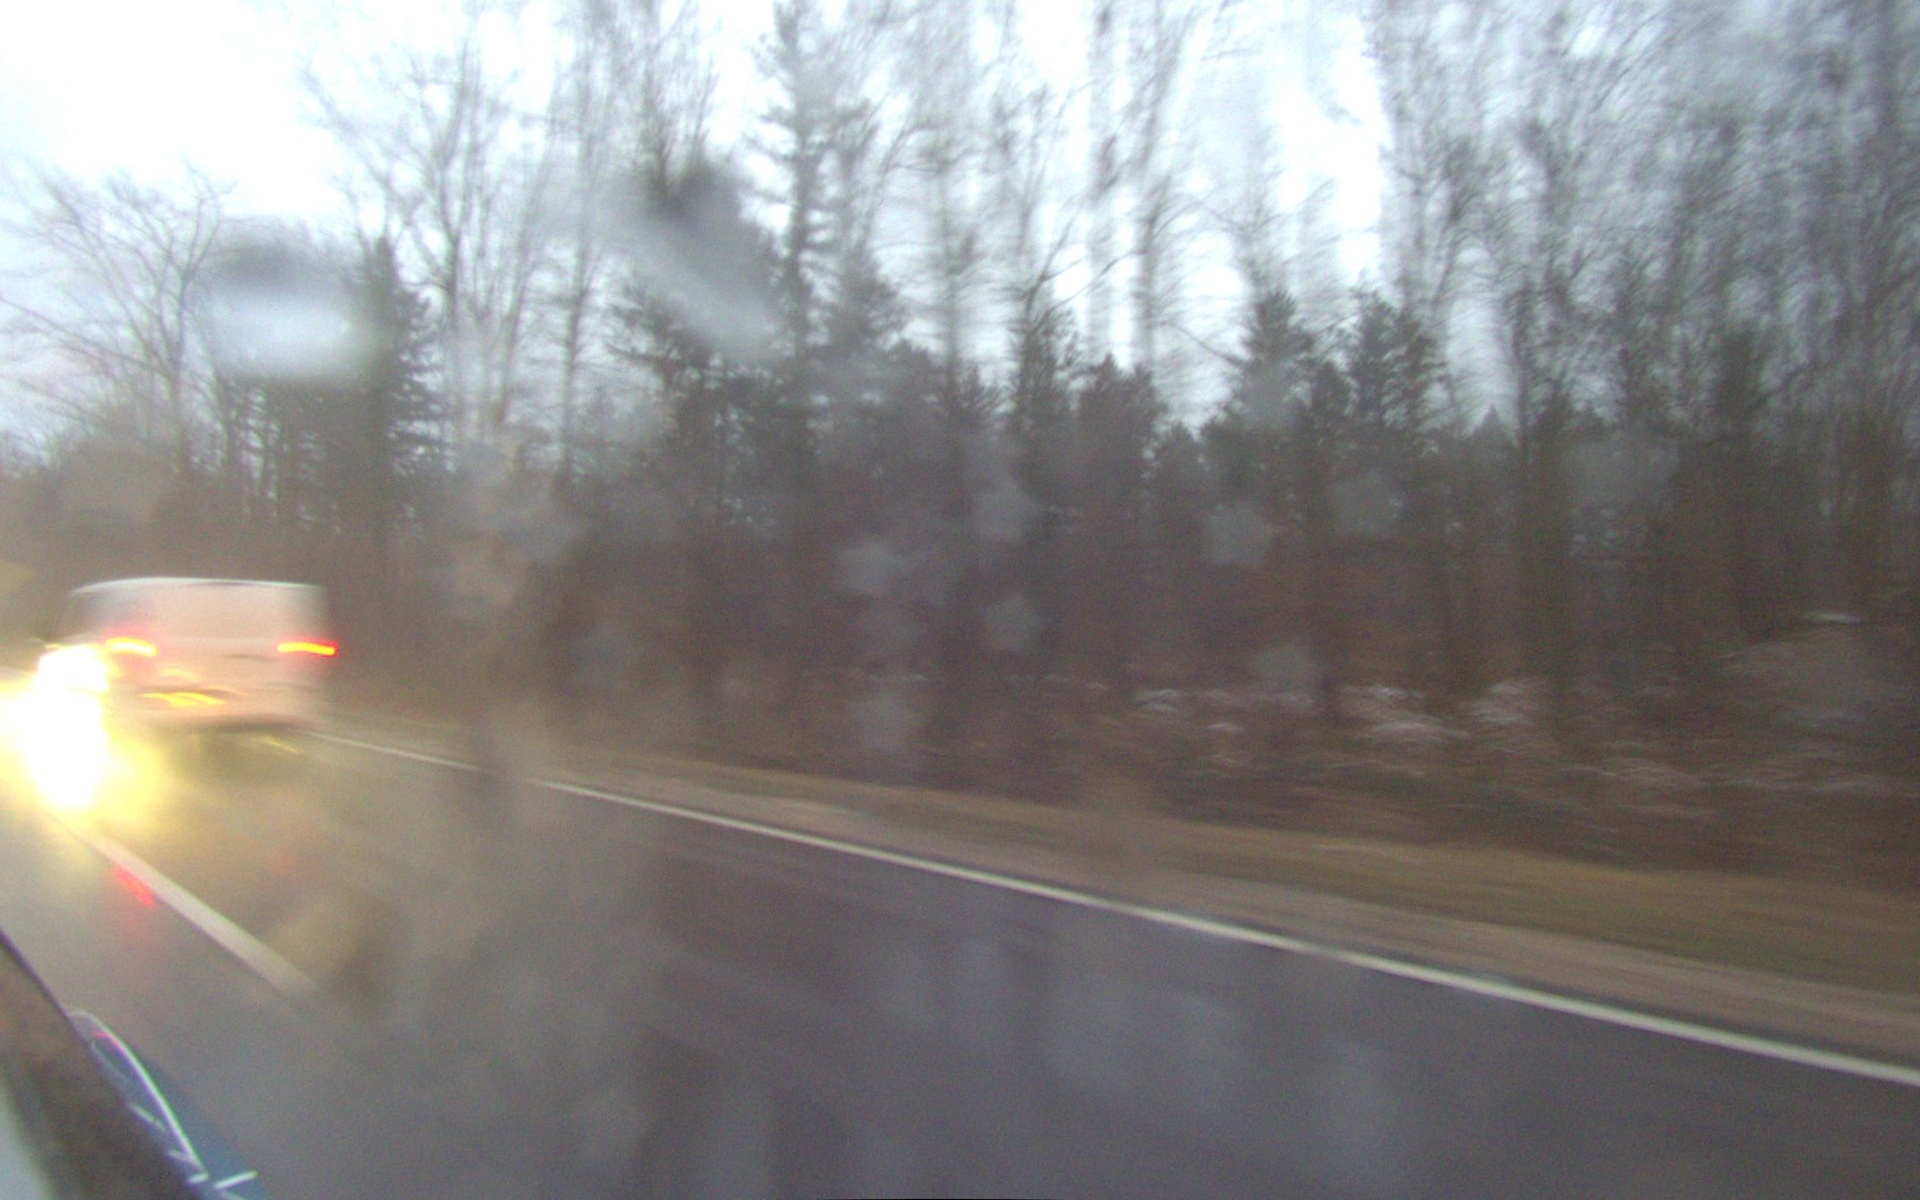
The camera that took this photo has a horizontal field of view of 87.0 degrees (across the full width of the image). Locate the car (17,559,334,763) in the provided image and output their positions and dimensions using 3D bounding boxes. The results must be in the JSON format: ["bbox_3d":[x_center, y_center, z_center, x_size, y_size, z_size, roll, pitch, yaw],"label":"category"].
[{"bbox_3d":[-9.687,0.684,12.338,5.027,2.004,1.986,-1,-4,40],"label":"car"}]
